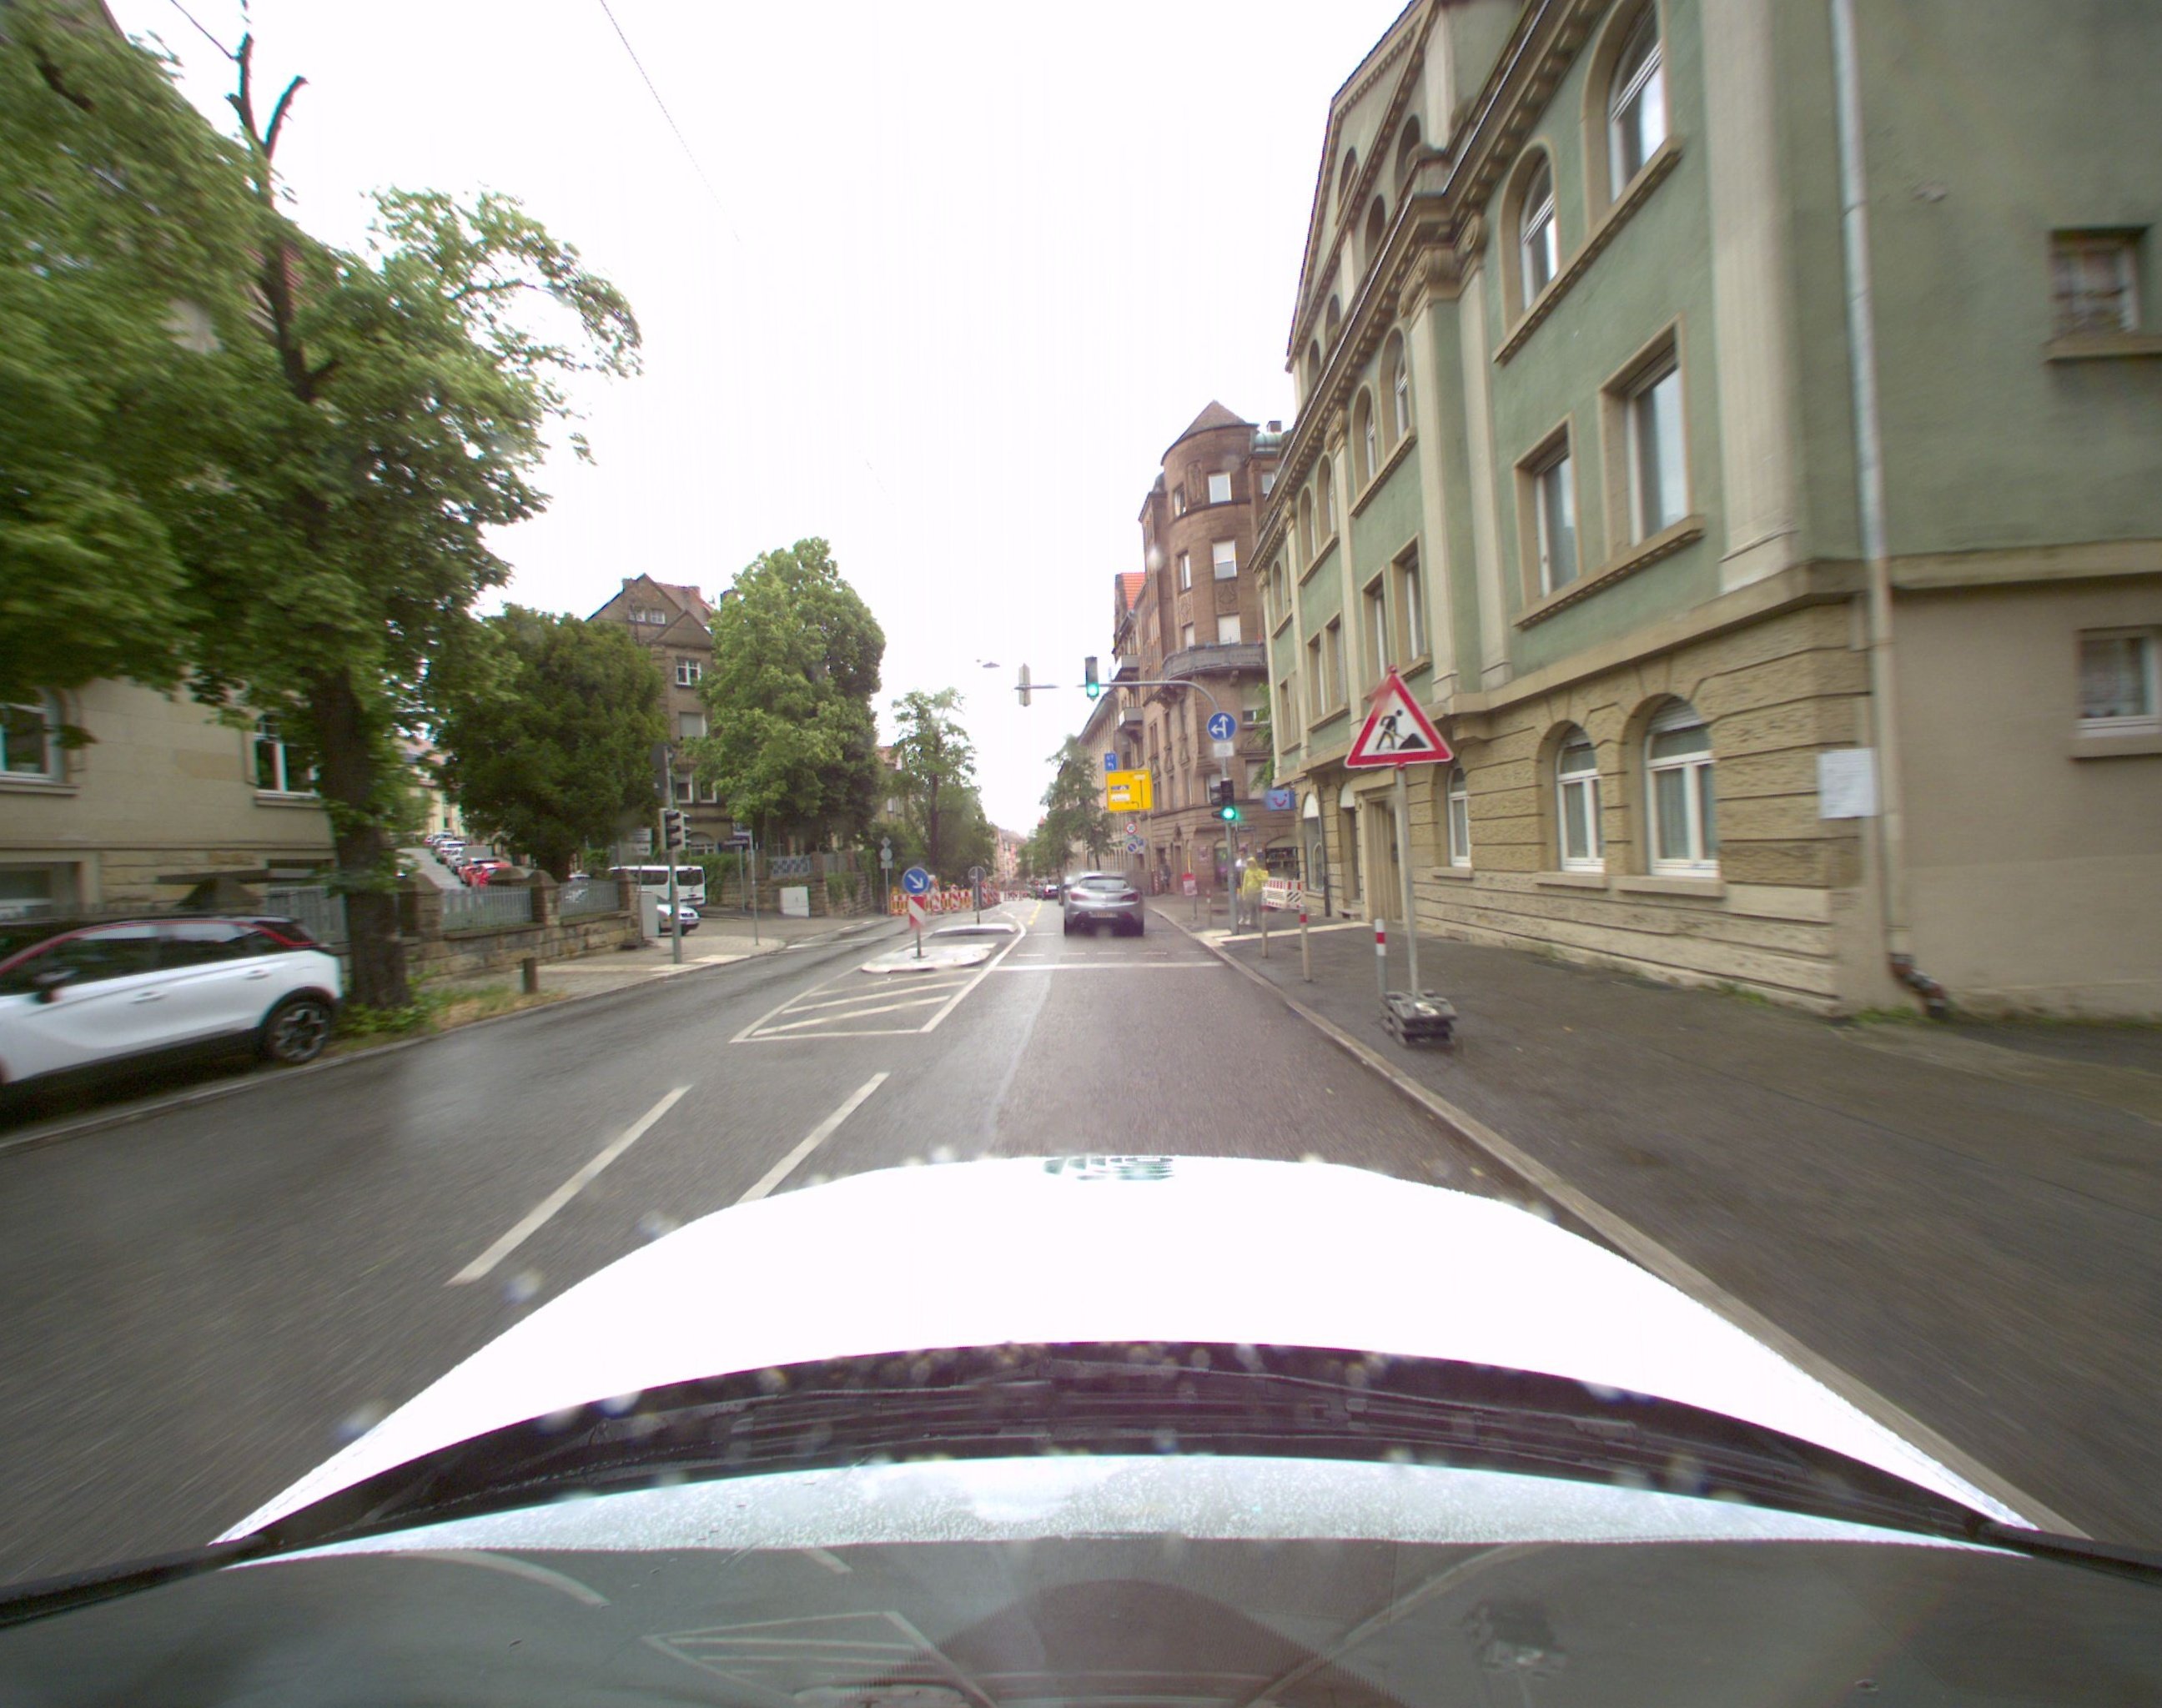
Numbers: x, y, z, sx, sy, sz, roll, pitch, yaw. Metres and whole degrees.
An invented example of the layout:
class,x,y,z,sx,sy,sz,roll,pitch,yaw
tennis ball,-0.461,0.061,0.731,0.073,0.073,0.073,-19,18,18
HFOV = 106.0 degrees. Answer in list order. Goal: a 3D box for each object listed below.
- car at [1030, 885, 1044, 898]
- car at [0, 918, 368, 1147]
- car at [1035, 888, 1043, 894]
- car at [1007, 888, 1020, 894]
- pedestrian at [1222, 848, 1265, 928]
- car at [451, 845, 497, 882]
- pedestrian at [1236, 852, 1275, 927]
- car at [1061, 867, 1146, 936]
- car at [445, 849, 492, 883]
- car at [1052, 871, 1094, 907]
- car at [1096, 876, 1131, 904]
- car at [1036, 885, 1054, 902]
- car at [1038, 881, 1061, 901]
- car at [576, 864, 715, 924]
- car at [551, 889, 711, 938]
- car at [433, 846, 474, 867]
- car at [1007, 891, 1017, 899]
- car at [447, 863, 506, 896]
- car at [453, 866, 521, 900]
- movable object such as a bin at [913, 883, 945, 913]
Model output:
class,x,y,z,sx,sy,sz,roll,pitch,yaw
car,-5.737,4.921,105.790,1.654,1.543,3.657,-5,-3,-6
car,-8.768,1.415,6.786,1.735,1.559,4.303,-1,-2,2
car,-13.325,11.769,258.814,1.984,1.684,4.004,-1,-3,5
car,-20.852,11.534,251.931,3.981,1.750,1.996,0,-4,-6
pedestrian,3.750,0.774,18.846,0.715,1.774,0.665,-5,-1,0
car,-35.715,0.560,47.888,1.805,2.042,3.890,5,-4,-41
pedestrian,3.880,0.787,18.121,0.595,1.585,0.665,-5,-1,0
car,0.577,1.117,19.719,1.804,1.450,3.870,-2,-2,2
car,-38.493,0.782,51.142,1.932,2.012,4.390,4,-4,-41
car,-0.431,1.629,37.892,1.768,1.505,3.864,-2,-2,-3
car,1.988,2.241,50.765,1.654,1.543,3.657,-5,-3,-6
car,-3.855,4.184,86.130,1.654,1.543,3.657,-5,-3,-6
car,-2.753,3.268,70.934,1.655,1.543,3.655,-5,-3,-7
car,-17.255,1.519,32.311,4.628,2.048,2.034,3,0,15
car,-13.686,1.808,24.895,3.842,1.409,1.829,0,-4,6
car,-46.808,0.201,60.745,2.124,1.409,4.390,4,-3,-41
car,-14.479,8.657,170.330,1.992,1.501,3.988,-3,-3,-8
car,-32.380,1.364,43.577,2.124,1.628,4.390,4,-4,-41
car,-28.912,1.391,39.582,2.045,1.536,4.388,4,-4,-44
movable object such as a bin,-12.538,3.587,67.306,1.988,2.300,2.813,-4,-2,-2
